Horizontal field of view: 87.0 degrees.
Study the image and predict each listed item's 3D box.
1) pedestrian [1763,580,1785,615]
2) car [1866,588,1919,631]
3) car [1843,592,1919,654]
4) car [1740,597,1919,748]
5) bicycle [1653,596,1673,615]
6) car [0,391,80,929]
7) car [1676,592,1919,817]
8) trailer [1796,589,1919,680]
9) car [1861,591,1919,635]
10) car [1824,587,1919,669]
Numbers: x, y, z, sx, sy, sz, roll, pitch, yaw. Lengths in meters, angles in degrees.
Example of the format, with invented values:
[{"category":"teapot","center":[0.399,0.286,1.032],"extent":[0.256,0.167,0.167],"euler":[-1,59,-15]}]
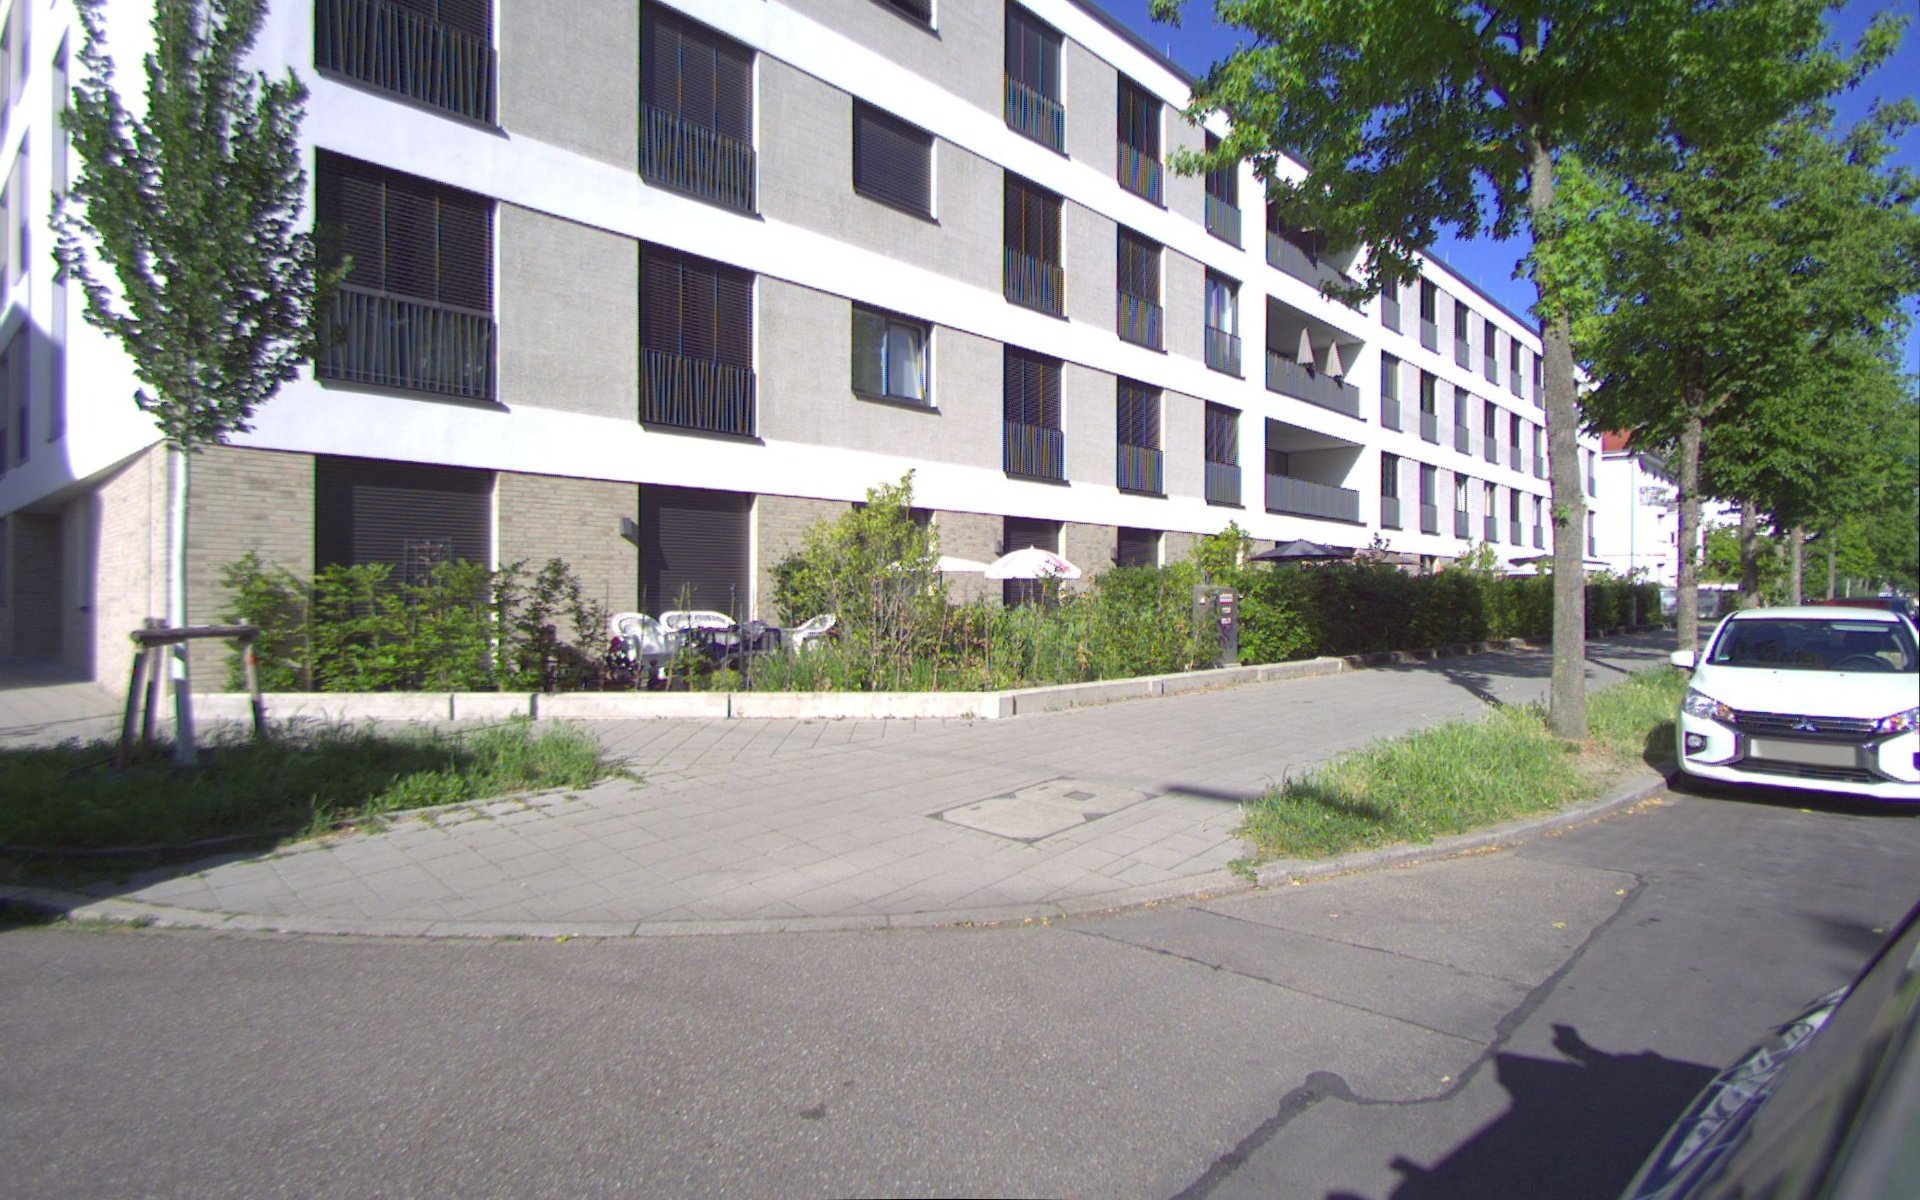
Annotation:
[{"category":"pedestrian","center":[47.915,-0.156,59.569],"extent":[0.905,2.039,0.990],"euler":[1,1,44]},{"category":"car","center":[38.531,0.352,41.412],"extent":[4.782,1.668,1.898],"euler":[0,0,-45]},{"category":"car","center":[24.860,0.572,27.030],"extent":[1.718,1.536,4.275],"euler":[-1,0,44]},{"category":"car","center":[10.428,0.726,11.896],"extent":[1.668,1.469,4.116],"euler":[-2,-1,42]},{"category":"bicycle","center":[33.641,0.246,48.402],"extent":[0.563,0.906,1.584],"euler":[0,0,44]},{"category":"car","center":[-6.771,0.247,4.526],"extent":[4.995,2.335,2.219],"euler":[1,0,21]},{"category":"car","center":[7.384,0.688,8.582],"extent":[1.731,1.506,3.949],"euler":[0,0,41]},{"category":"trailer","center":[17.338,0.626,19.479],"extent":[3.140,1.599,1.575],"euler":[0,-2,-45]},{"category":"car","center":[34.514,0.446,37.272],"extent":[1.778,1.537,4.621],"euler":[-1,0,39]},{"category":"car","center":[20.657,0.563,22.638],"extent":[1.791,1.664,4.744],"euler":[-3,-1,43]}]
